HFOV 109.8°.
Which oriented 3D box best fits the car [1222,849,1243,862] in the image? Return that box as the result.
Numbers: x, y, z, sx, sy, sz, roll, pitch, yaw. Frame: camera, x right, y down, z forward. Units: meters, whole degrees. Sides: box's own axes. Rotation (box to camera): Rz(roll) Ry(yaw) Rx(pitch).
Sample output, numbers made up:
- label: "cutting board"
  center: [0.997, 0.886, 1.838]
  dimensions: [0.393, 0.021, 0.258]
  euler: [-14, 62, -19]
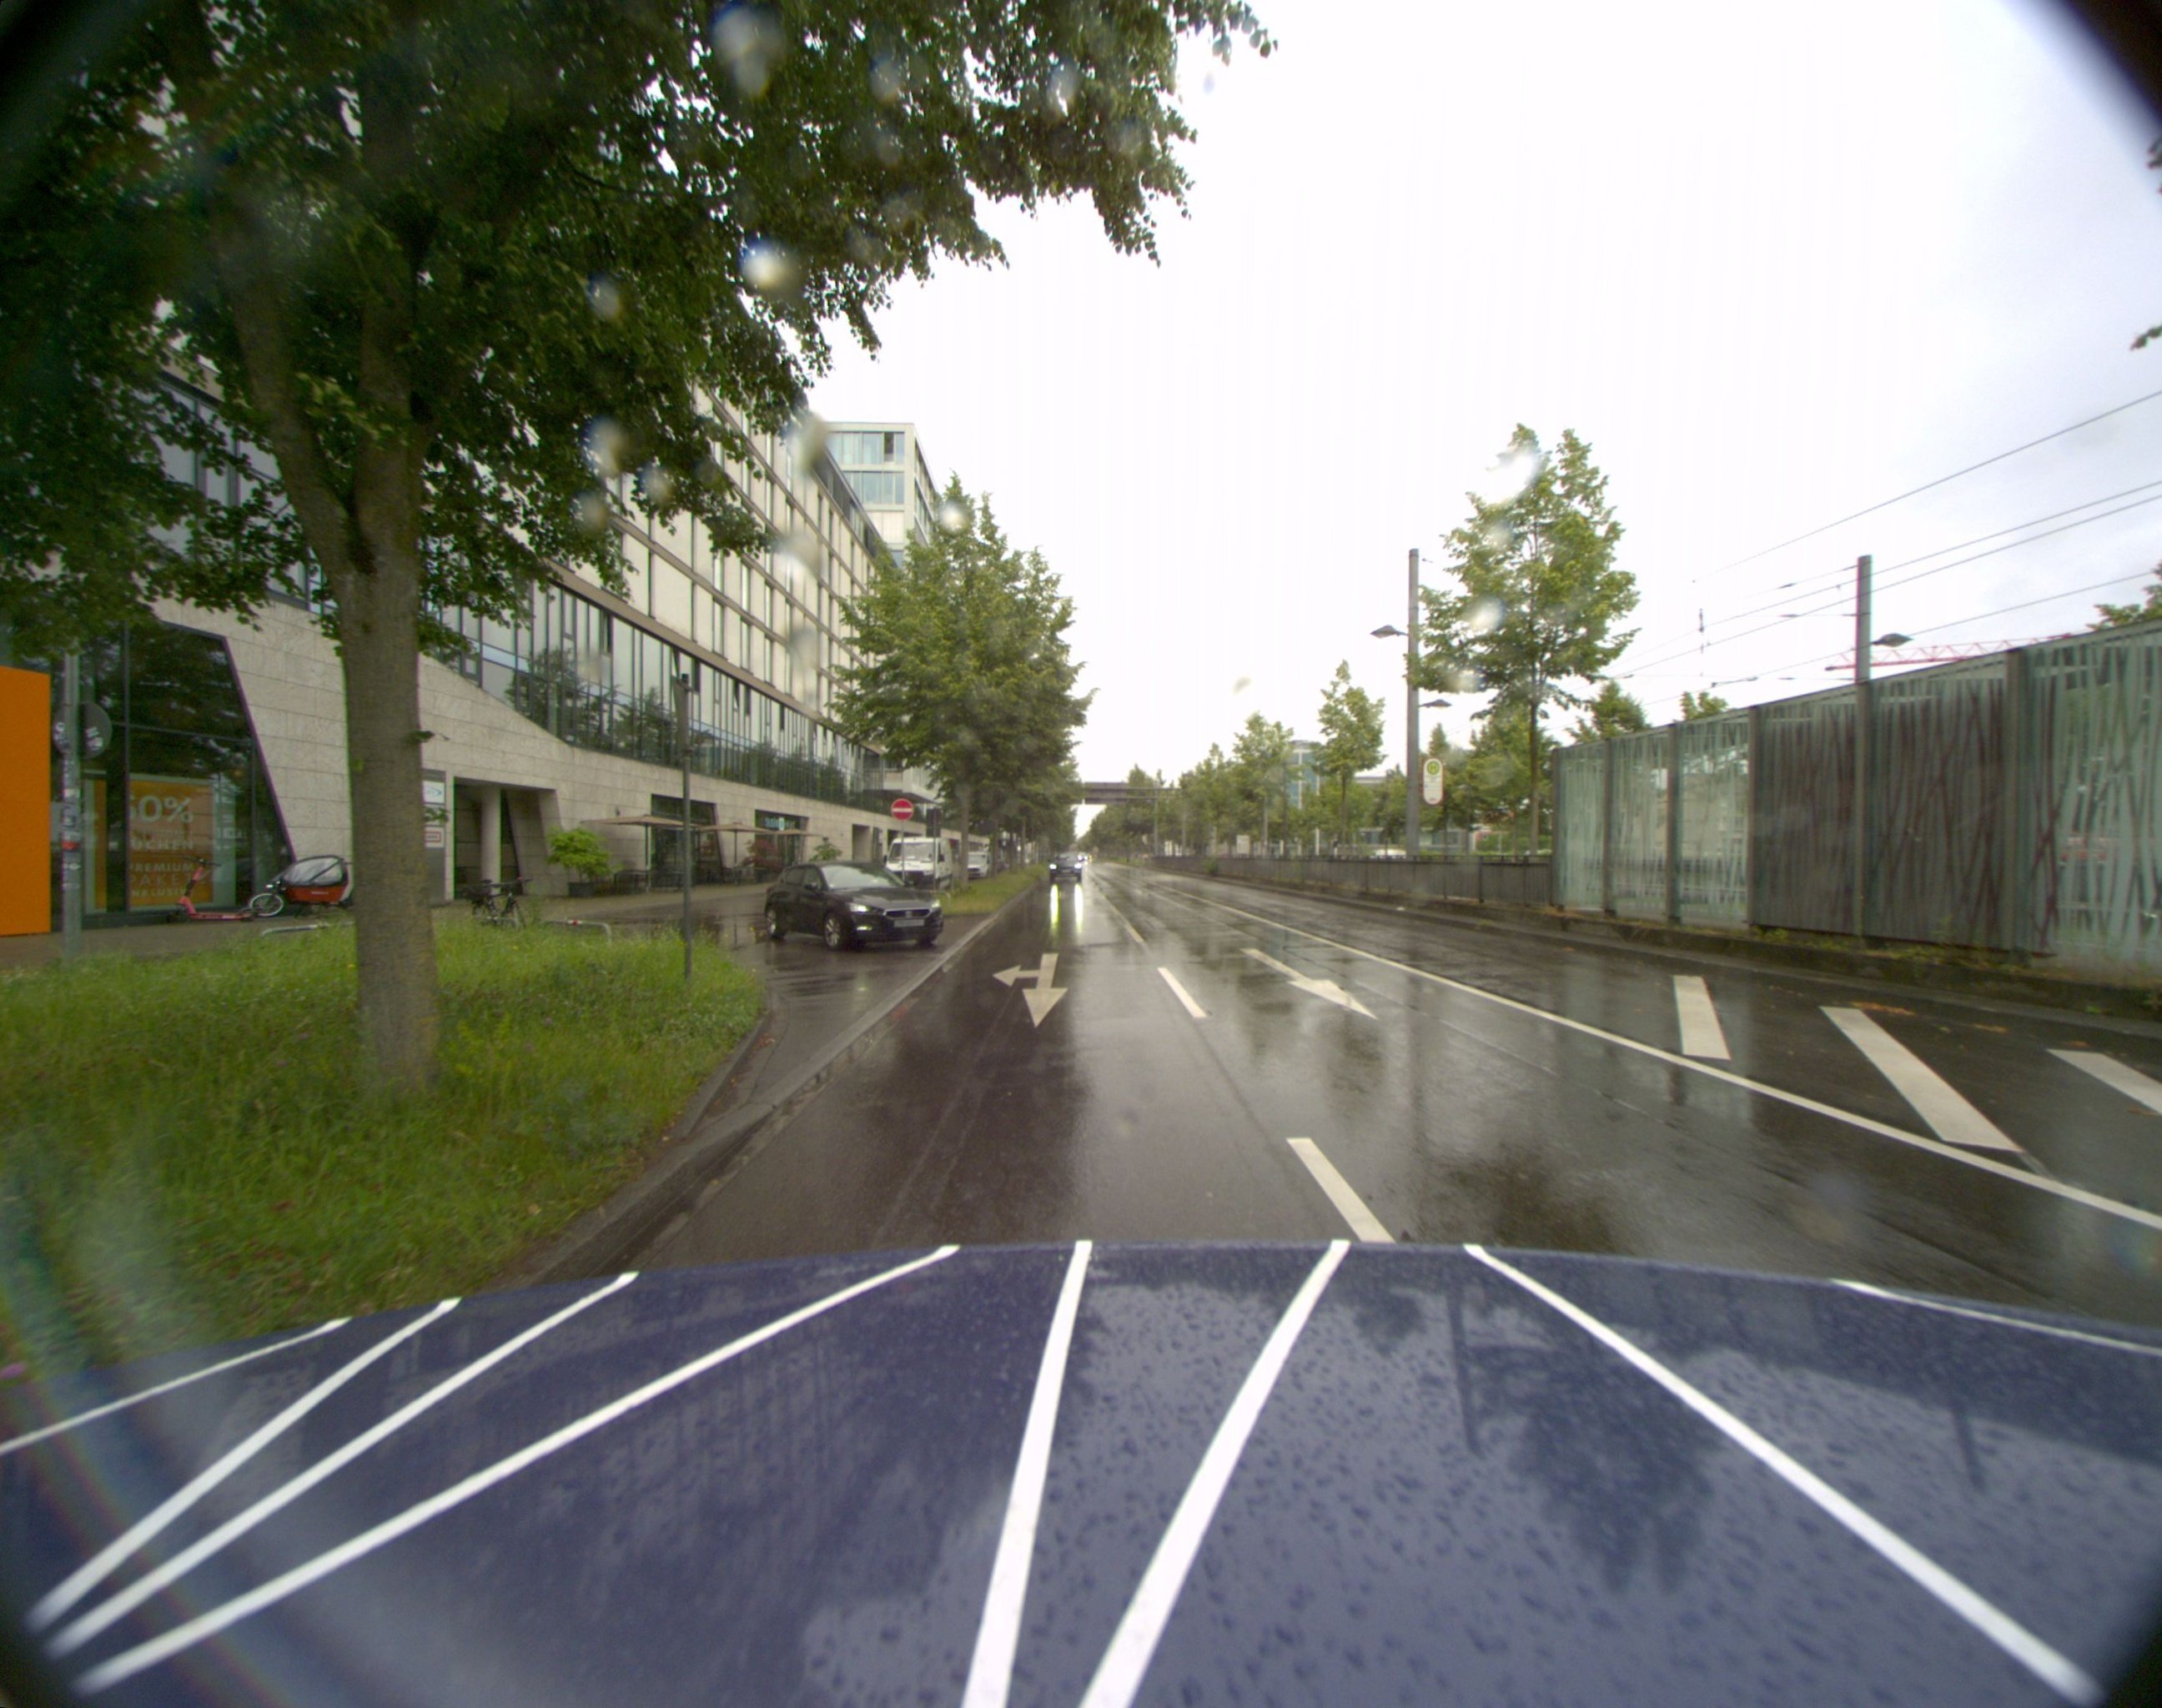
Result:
- label: "car"
  center: [21.804, 0.182, 109.614]
  dimensions: [1.999, 1.736, 3.998]
  euler: [-2, 1, -3]

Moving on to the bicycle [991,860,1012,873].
- label: "bicycle"
  center: [-6.309, 0.966, 60.248]
  dimensions: [1.649, 0.940, 0.395]
  euler: [-2, 1, -4]

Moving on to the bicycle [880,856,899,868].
- label: "bicycle"
  center: [-16.681, 0.702, 66.248]
  dimensions: [1.657, 0.940, 0.347]
  euler: [1, 1, 18]

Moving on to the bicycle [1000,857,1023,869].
- label: "bicycle"
  center: [-6.358, 0.812, 69.158]
  dimensions: [2.040, 0.940, 0.541]
  euler: [-2, 1, -4]

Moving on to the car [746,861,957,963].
- label: "car"
  center: [-4.144, 0.870, 13.252]
  dimensions: [1.836, 1.412, 4.333]
  euler: [-1, 1, -42]

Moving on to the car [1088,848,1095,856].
- label: "car"
  center: [3.113, -0.581, 229.936]
  dimensions: [1.998, 2.232, 3.999]
  euler: [-2, 1, 0]

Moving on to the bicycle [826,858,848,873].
- label: "bicycle"
  center: [-15.562, 0.760, 48.380]
  dimensions: [2.024, 0.940, 0.396]
  euler: [-1, 2, 45]

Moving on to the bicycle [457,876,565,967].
- label: "bicycle"
  center: [-8.858, 1.016, 11.795]
  dimensions: [1.843, 1.338, 0.533]
  euler: [-1, -1, 25]

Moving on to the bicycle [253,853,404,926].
- label: "bicycle"
  center: [-15.679, 0.694, 15.951]
  dimensions: [0.734, 1.394, 2.425]
  euler: [1, 0, 1]

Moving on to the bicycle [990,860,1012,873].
- label: "bicycle"
  center: [-6.283, 0.978, 59.562]
  dimensions: [1.699, 0.940, 0.395]
  euler: [-2, 1, -4]

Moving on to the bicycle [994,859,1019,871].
- label: "bicycle"
  center: [-6.117, 0.893, 62.480]
  dimensions: [2.007, 0.940, 0.395]
  euler: [-2, 1, -4]

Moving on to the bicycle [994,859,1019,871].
- label: "bicycle"
  center: [-6.195, 0.892, 62.965]
  dimensions: [2.040, 0.940, 0.395]
  euler: [-2, 1, -4]

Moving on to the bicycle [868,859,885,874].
- label: "bicycle"
  center: [-13.645, 0.852, 50.774]
  dimensions: [0.402, 0.940, 1.859]
  euler: [-1, 1, 7]

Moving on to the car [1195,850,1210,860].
- label: "car"
  center: [24.315, 0.177, 152.301]
  dimensions: [1.999, 1.736, 3.998]
  euler: [-2, 1, -3]

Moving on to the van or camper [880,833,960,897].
- label: "van or camper"
  center: [-6.208, 0.373, 30.034]
  dimensions: [2.031, 2.279, 5.459]
  euler: [-1, 1, -1]

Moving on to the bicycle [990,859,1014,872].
- label: "bicycle"
  center: [-6.317, 0.929, 60.777]
  dimensions: [1.793, 0.940, 0.395]
  euler: [-2, 1, -4]

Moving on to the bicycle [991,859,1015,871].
- label: "bicycle"
  center: [-6.353, 0.911, 62.019]
  dimensions: [1.883, 0.940, 0.395]
  euler: [-2, 1, -4]

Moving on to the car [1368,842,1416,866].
- label: "car"
  center: [24.872, -0.035, 60.934]
  dimensions: [1.999, 1.736, 3.998]
  euler: [-2, 1, -3]

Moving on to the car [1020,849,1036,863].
- label: "car"
  center: [-6.815, 0.269, 97.879]
  dimensions: [1.659, 1.711, 3.999]
  euler: [-2, 1, -1]

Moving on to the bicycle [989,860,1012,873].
- label: "bicycle"
  center: [-6.237, 0.962, 58.818]
  dimensions: [1.666, 0.940, 0.395]
  euler: [-2, 1, -4]

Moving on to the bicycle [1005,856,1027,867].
- label: "bicycle"
  center: [-6.196, 0.694, 72.528]
  dimensions: [2.040, 0.940, 0.519]
  euler: [-2, 1, -4]

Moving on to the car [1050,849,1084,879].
- label: "car"
  center: [-0.776, 0.554, 45.076]
  dimensions: [1.816, 1.603, 3.999]
  euler: [-2, 1, 0]

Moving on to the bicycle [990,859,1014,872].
- label: "bicycle"
  center: [-6.365, 0.921, 61.456]
  dimensions: [1.862, 0.940, 0.395]
  euler: [-2, 1, -4]

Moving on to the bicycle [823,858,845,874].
- label: "bicycle"
  center: [-15.436, 0.769, 47.392]
  dimensions: [2.024, 0.940, 0.396]
  euler: [-1, 2, 45]

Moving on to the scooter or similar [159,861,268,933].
- label: "scooter or similar"
  center: [-15.984, 0.766, 14.035]
  dimensions: [0.342, 1.221, 1.242]
  euler: [-2, 1, 19]

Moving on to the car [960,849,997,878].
- label: "car"
  center: [-6.501, 0.545, 48.789]
  dimensions: [1.746, 1.749, 4.847]
  euler: [-1, 1, -1]
